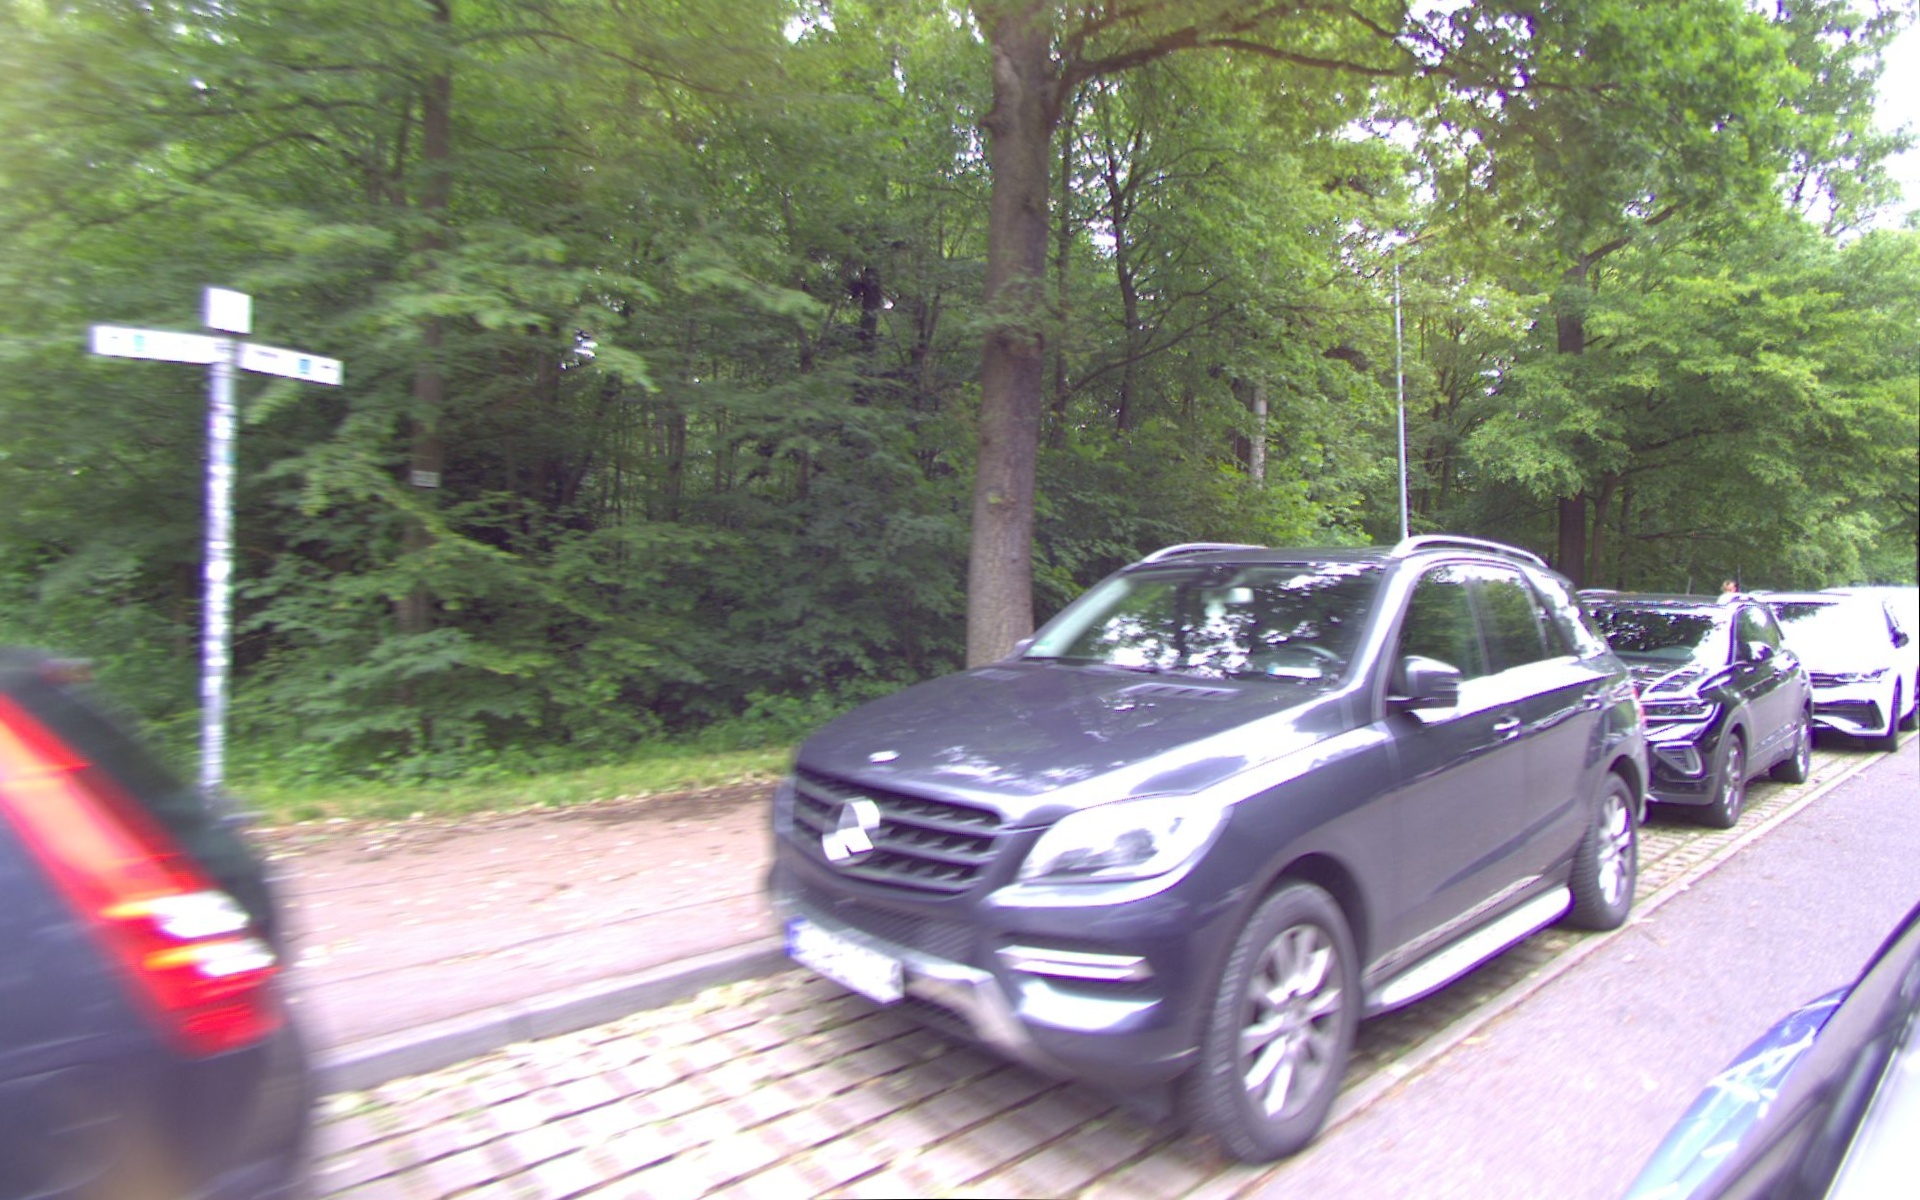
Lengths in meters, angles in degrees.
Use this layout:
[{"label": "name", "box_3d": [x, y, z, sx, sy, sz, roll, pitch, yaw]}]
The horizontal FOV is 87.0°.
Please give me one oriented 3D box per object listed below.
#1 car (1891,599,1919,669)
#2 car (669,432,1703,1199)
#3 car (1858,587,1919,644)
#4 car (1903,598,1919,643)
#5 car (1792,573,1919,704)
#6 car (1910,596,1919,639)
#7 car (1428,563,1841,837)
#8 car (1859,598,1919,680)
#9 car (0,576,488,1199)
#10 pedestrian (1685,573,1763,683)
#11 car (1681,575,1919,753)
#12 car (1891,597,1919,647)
[{"label": "car", "box_3d": [22.806, 0.739, 22.847, 4.882, 1.498, 1.998, 0, 0, -39]}, {"label": "car", "box_3d": [1.442, 0.553, 4.361, 4.863, 1.769, 1.892, 0, 0, -42]}, {"label": "car", "box_3d": [29.859, 0.473, 30.210, 1.922, 1.687, 4.278, 0, 0, -37]}, {"label": "car", "box_3d": [33.947, 0.704, 33.289, 1.915, 1.494, 3.999, 0, 0, -35]}, {"label": "car", "box_3d": [14.604, 0.541, 15.873, 4.473, 1.803, 1.747, 0, 0, -42]}, {"label": "car", "box_3d": [35.874, 0.660, 35.193, 1.816, 1.550, 3.839, 0, 1, -36]}, {"label": "car", "box_3d": [5.599, 0.601, 8.159, 4.370, 1.628, 1.753, 0, 0, -42]}, {"label": "car", "box_3d": [18.630, 0.700, 19.208, 4.207, 1.441, 1.729, 0, 0, -39]}, {"label": "car", "box_3d": [-2.762, 0.726, 0.840, 4.019, 1.523, 1.601, 0, 0, -42]}, {"label": "pedestrian", "box_3d": [12.629, 0.441, 16.730, 0.986, 1.748, 0.819, 0, -1, -40]}, {"label": "car", "box_3d": [10.056, 0.611, 11.800, 4.637, 1.683, 1.787, 0, 0, -43]}, {"label": "car", "box_3d": [31.925, 0.692, 31.663, 1.942, 1.571, 3.992, 0, 0, -42]}]
